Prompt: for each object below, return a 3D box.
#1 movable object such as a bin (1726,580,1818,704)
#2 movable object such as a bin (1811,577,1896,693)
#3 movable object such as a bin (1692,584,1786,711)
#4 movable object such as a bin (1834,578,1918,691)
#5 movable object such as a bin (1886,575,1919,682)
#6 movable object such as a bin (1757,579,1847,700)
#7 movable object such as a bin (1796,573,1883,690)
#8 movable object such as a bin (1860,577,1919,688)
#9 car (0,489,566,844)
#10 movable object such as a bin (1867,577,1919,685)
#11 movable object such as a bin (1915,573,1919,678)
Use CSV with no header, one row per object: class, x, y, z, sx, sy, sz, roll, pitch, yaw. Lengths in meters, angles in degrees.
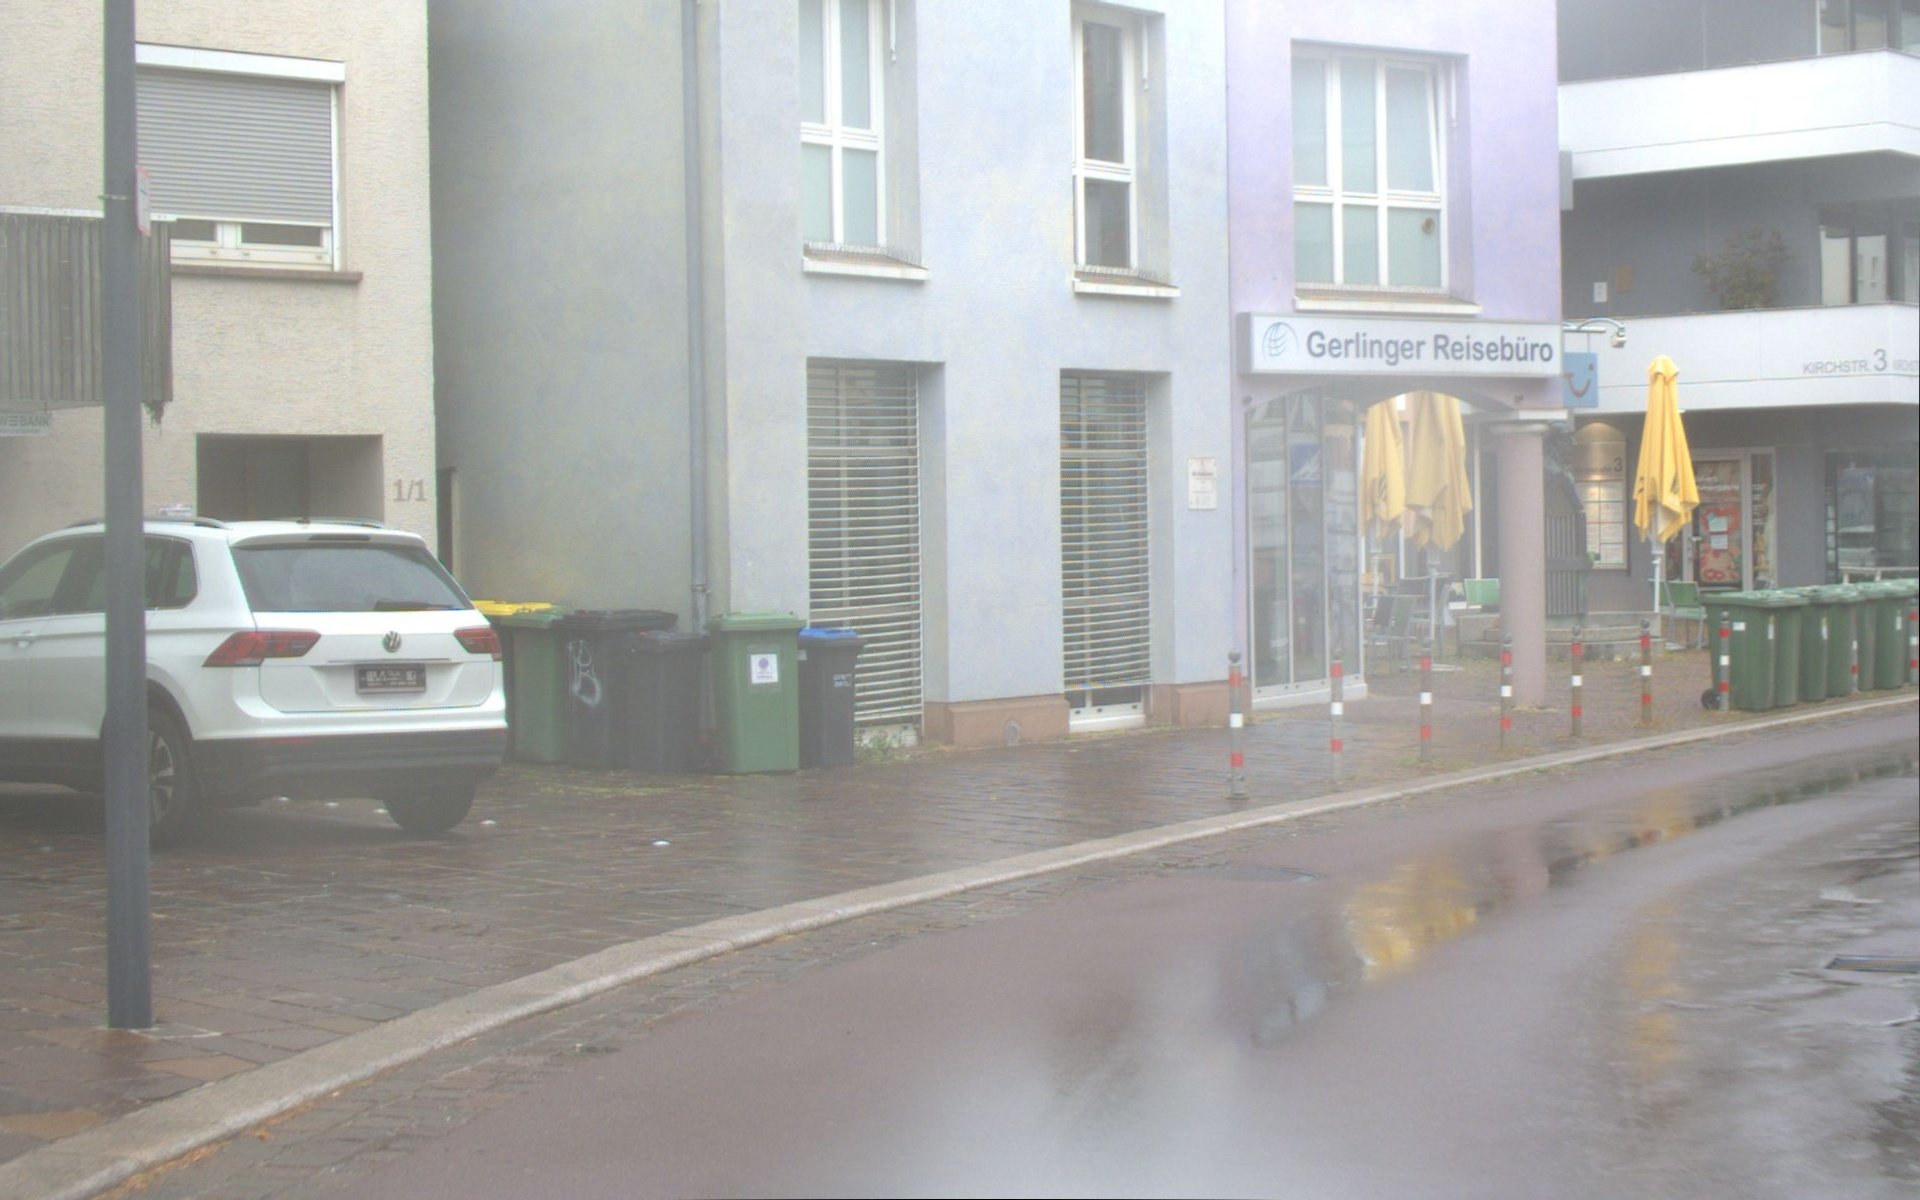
movable object such as a bin,7.500,0.386,31.738,0.634,1.124,0.576,-1,0,36
movable object such as a bin,8.856,0.347,34.072,0.634,1.124,0.576,-1,0,36
movable object such as a bin,7.045,0.429,31.101,0.634,1.124,0.576,-1,0,36
movable object such as a bin,9.275,0.346,34.808,0.634,1.124,0.576,-1,0,36
movable object such as a bin,10.273,0.298,36.569,0.634,1.124,0.576,-1,0,36
movable object such as a bin,7.953,0.374,32.459,0.634,1.124,0.576,-1,0,36
movable object such as a bin,8.540,0.306,33.389,0.634,1.124,0.576,-1,0,36
movable object such as a bin,9.684,0.329,35.378,0.634,1.124,0.576,-1,0,36
car,-4.087,0.285,18.332,1.994,1.670,3.998,-1,1,-42
movable object such as a bin,9.931,0.322,36.043,0.634,1.124,0.576,-1,0,36
movable object such as a bin,10.700,0.268,37.003,0.634,1.124,0.576,-1,0,36
